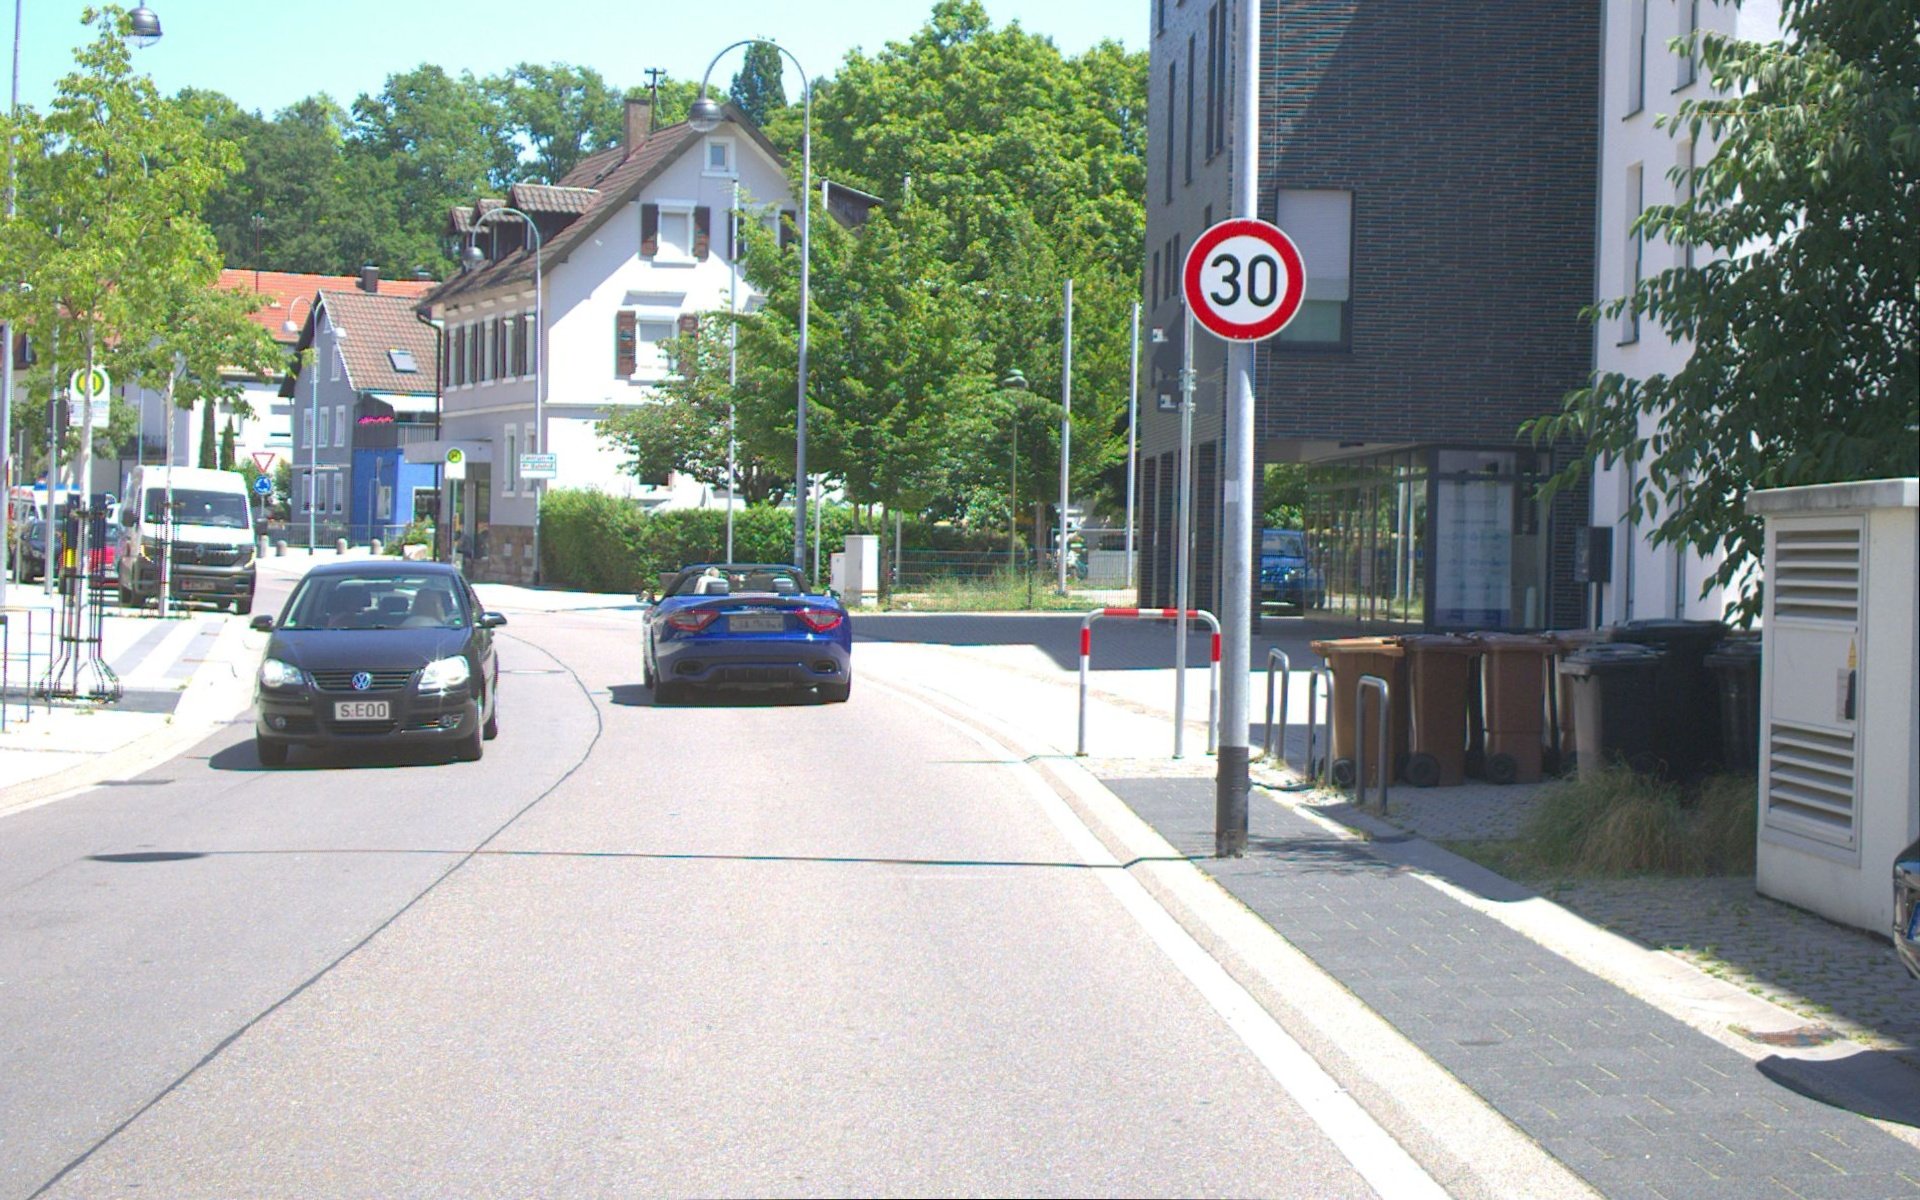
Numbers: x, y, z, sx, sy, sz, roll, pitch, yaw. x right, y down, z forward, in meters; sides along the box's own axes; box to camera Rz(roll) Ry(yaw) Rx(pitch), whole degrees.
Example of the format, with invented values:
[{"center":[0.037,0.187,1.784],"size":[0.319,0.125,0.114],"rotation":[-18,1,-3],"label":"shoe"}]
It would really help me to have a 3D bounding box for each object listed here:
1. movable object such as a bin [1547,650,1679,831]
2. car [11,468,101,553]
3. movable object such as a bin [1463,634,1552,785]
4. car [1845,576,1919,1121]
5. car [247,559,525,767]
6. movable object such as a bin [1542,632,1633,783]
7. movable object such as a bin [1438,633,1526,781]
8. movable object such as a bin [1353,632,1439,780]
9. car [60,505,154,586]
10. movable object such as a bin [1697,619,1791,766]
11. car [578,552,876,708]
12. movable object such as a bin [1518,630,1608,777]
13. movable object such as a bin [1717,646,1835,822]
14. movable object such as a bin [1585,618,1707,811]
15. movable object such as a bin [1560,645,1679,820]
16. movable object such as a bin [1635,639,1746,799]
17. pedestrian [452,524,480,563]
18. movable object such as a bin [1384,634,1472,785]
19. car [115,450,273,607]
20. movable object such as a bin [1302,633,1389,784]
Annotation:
[{"center":[3.469,0.739,18.283],"size":[0.561,0.928,0.466],"rotation":[-1,1,-8],"label":"movable object such as a bin"},{"center":[-25.894,-2.574,98.409],"size":[2.155,2.354,5.249],"rotation":[0,1,-18],"label":"car"},{"center":[3.448,0.684,21.673],"size":[0.465,0.927,0.522],"rotation":[0,1,-2],"label":"movable object such as a bin"},{"center":[4.367,0.646,9.064],"size":[3.657,1.440,1.535],"rotation":[0,0,0],"label":"car"},{"center":[-4.315,0.425,26.332],"size":[1.616,1.449,3.864],"rotation":[0,1,-2],"label":"car"},{"center":[3.954,0.675,21.691],"size":[0.465,0.927,0.522],"rotation":[0,1,-2],"label":"movable object such as a bin"},{"center":[3.378,0.686,22.253],"size":[0.473,0.927,0.528],"rotation":[0,1,-2],"label":"movable object such as a bin"},{"center":[2.816,0.679,22.215],"size":[0.473,0.927,0.528],"rotation":[0,1,-2],"label":"movable object such as a bin"},{"center":[-16.810,-1.097,67.701],"size":[1.559,1.515,3.517],"rotation":[1,1,-17],"label":"car"},{"center":[5.076,0.593,22.263],"size":[0.473,0.927,0.528],"rotation":[0,1,-2],"label":"movable object such as a bin"},{"center":[-2.378,0.241,34.031],"size":[1.910,1.356,4.287],"rotation":[-1,2,-18],"label":"car"},{"center":[3.903,0.666,22.276],"size":[0.473,0.927,0.528],"rotation":[0,1,-2],"label":"movable object such as a bin"},{"center":[4.452,0.725,18.777],"size":[0.484,0.928,0.467],"rotation":[-1,1,-8],"label":"movable object such as a bin"},{"center":[3.879,0.640,19.459],"size":[0.569,1.057,0.560],"rotation":[-1,1,-1],"label":"movable object such as a bin"},{"center":[3.619,0.719,18.882],"size":[0.512,0.928,0.466],"rotation":[-1,1,-8],"label":"movable object such as a bin"},{"center":[4.367,0.705,20.566],"size":[0.481,0.920,0.437],"rotation":[-1,1,-25],"label":"movable object such as a bin"},{"center":[-13.030,-1.492,90.672],"size":[0.590,0.996,0.724],"rotation":[0,2,-21],"label":"pedestrian"},{"center":[2.944,0.686,21.660],"size":[0.467,0.927,0.528],"rotation":[0,1,-2],"label":"movable object such as a bin"},{"center":[-13.381,-1.248,59.833],"size":[2.091,2.489,5.505],"rotation":[3,1,-17],"label":"car"},{"center":[2.425,0.679,21.649],"size":[0.473,0.927,0.528],"rotation":[0,1,-2],"label":"movable object such as a bin"}]
